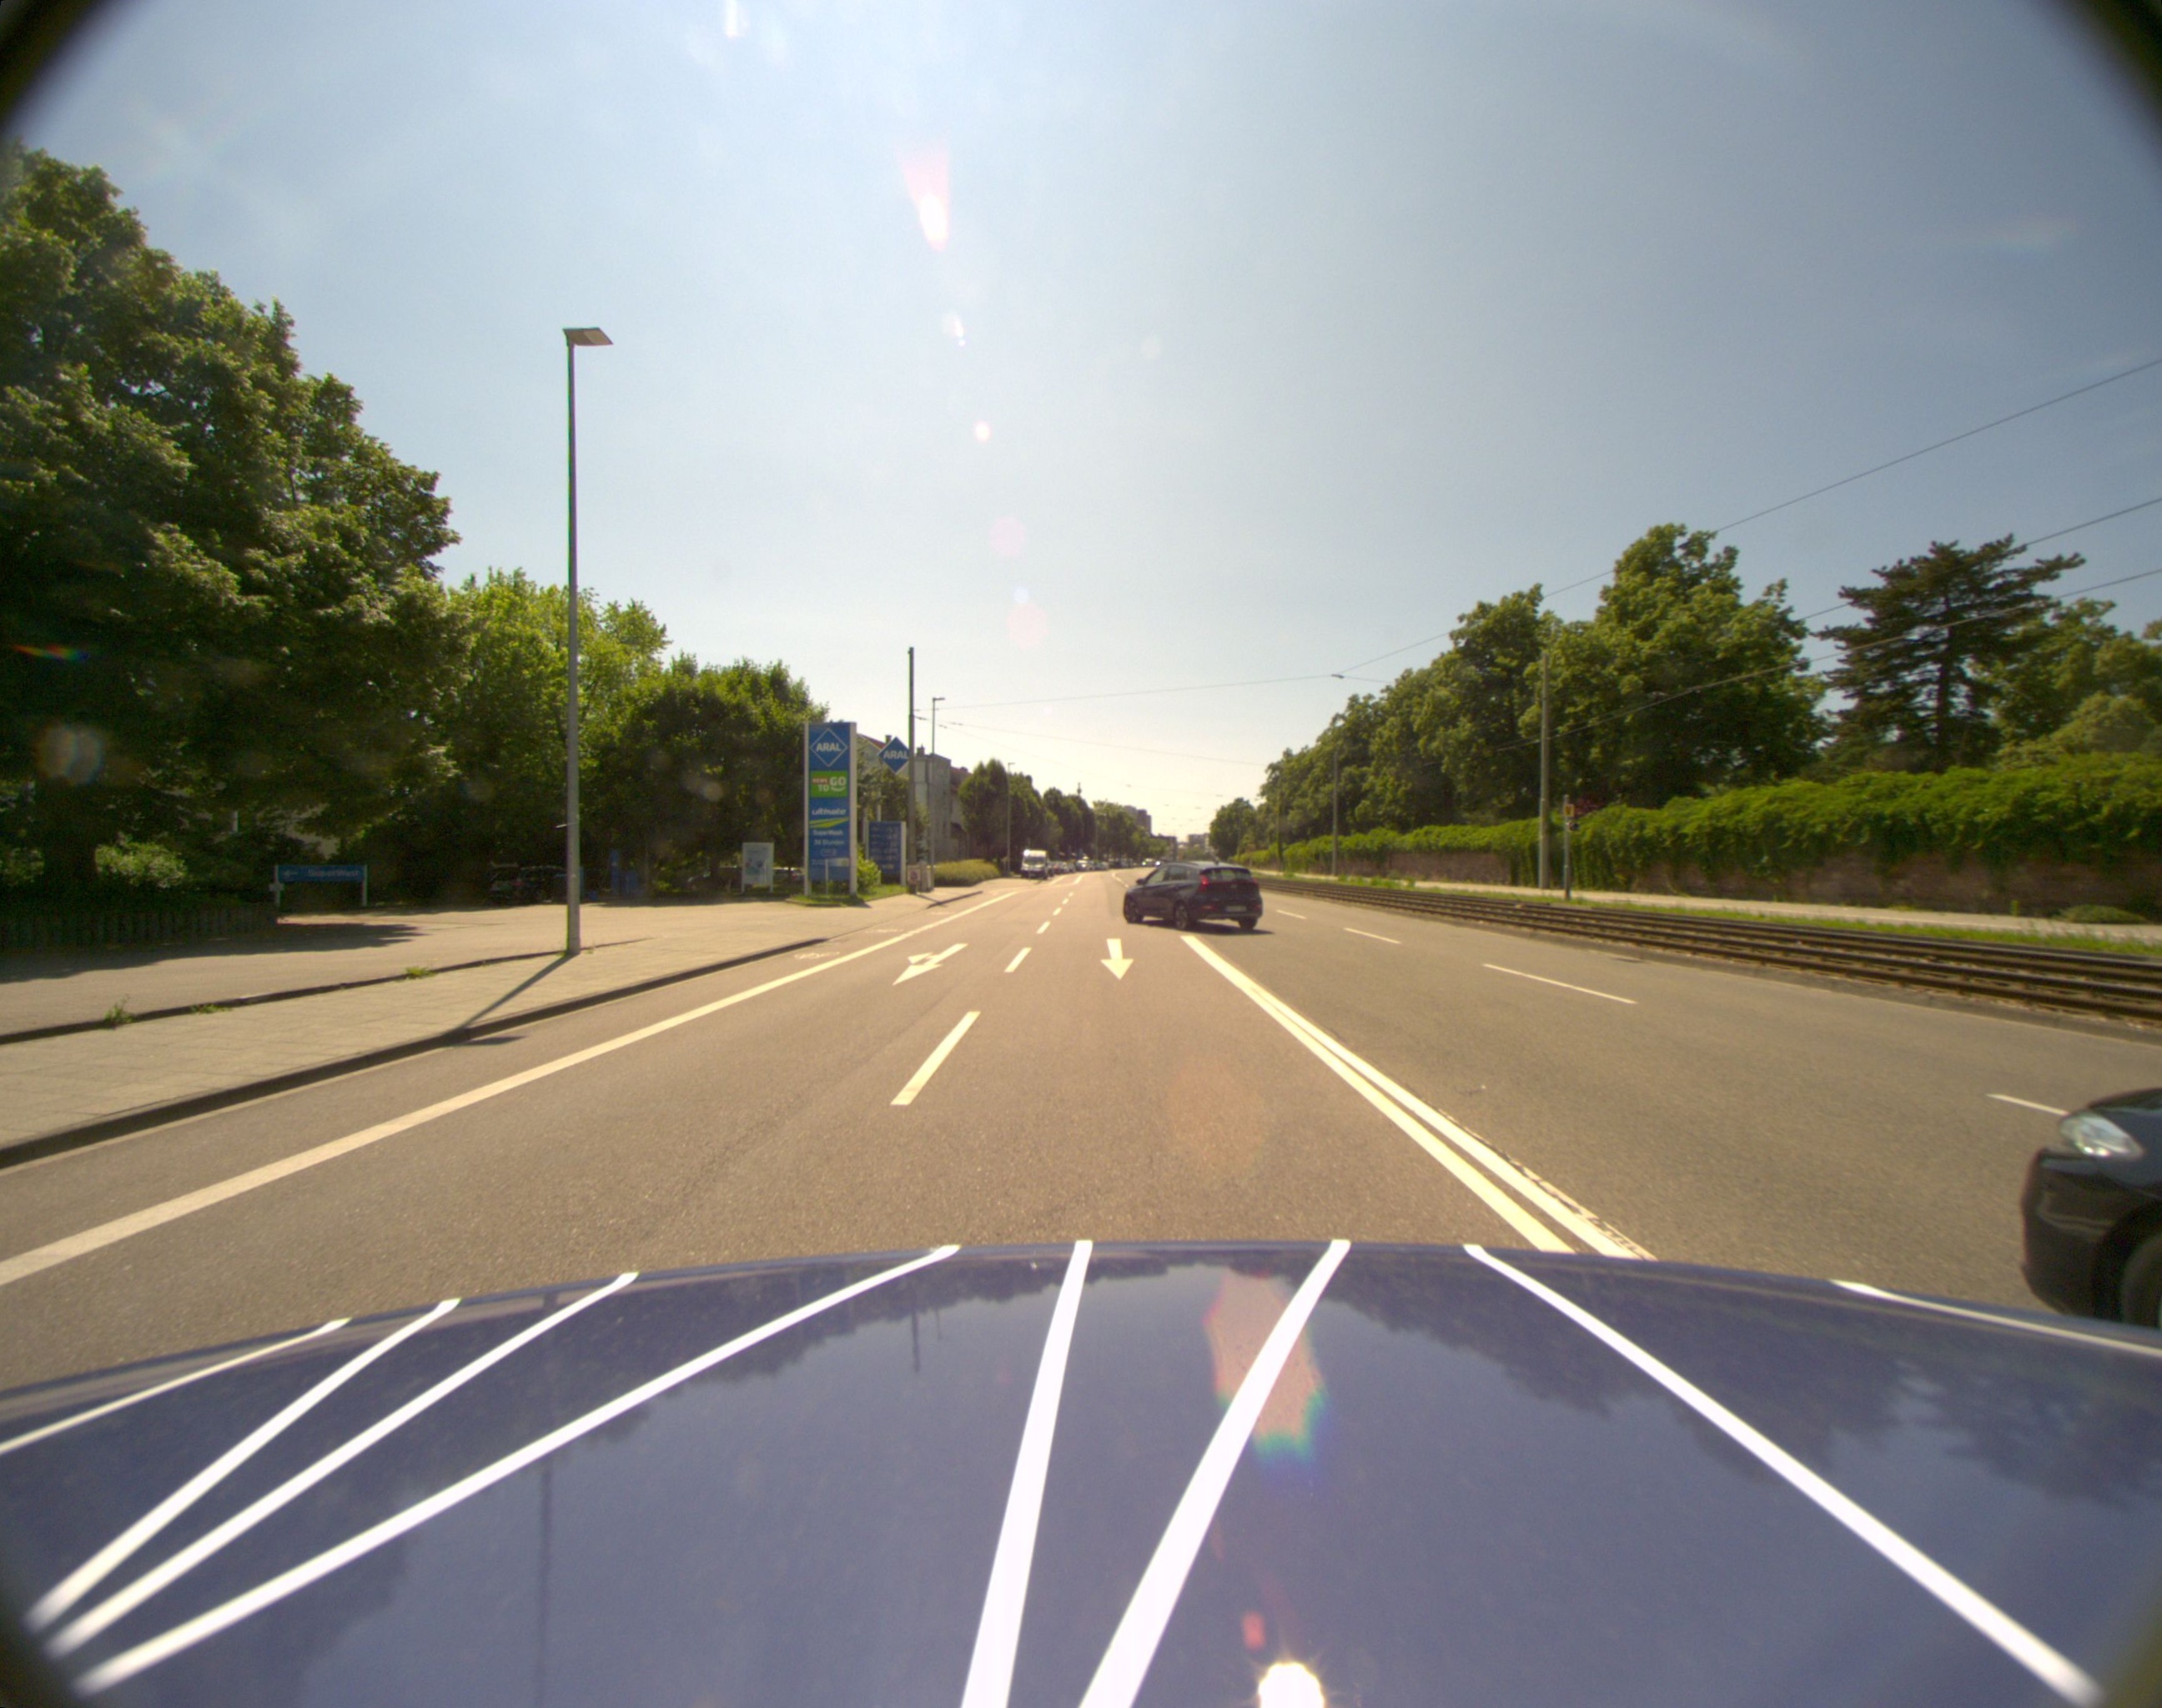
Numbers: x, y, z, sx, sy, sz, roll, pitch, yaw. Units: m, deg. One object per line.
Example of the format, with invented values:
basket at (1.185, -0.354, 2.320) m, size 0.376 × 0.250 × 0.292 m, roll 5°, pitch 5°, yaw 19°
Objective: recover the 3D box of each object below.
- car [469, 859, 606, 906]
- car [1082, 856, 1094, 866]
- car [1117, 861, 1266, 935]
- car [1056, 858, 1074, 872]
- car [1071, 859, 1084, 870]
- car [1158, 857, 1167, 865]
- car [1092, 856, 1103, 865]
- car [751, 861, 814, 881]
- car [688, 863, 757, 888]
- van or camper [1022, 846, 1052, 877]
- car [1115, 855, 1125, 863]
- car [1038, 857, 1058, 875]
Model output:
car at (-21.646, 1.066, 30.520) m, size 1.997 × 1.653 × 4.412 m, roll 0°, pitch 1°, yaw 6°
car at (1.115, 1.131, 126.627) m, size 1.907 × 1.707 × 4.000 m, roll 0°, pitch 0°, yaw 2°
car at (2.365, 0.897, 17.424) m, size 1.720 × 1.413 × 4.135 m, roll 0°, pitch 0°, yaw -19°
car at (-1.811, 1.212, 86.212) m, size 1.813 × 1.543 × 4.001 m, roll 0°, pitch 0°, yaw 3°
car at (-0.515, 1.630, 114.746) m, size 1.725 × 1.586 × 4.001 m, roll 0°, pitch 0°, yaw 4°
car at (15.072, 1.365, 140.358) m, size 1.695 × 1.460 × 4.002 m, roll 0°, pitch 0°, yaw 7°
car at (2.935, 1.203, 134.712) m, size 1.806 × 1.584 × 4.000 m, roll 0°, pitch 0°, yaw 2°
car at (-23.798, 1.325, 60.577) m, size 4.220 × 1.512 × 2.001 m, roll 0°, pitch 0°, yaw 9°
car at (-24.941, 1.512, 52.945) m, size 3.992 × 1.677 × 2.002 m, roll 0°, pitch 0°, yaw 16°
van or camper at (-3.793, 0.653, 66.138) m, size 2.125 × 2.469 × 5.993 m, roll 2°, pitch 0°, yaw 0°
car at (8.430, 1.091, 165.196) m, size 1.998 × 1.718 × 4.000 m, roll 0°, pitch 0°, yaw 2°
car at (-3.249, 1.167, 75.087) m, size 1.827 × 1.624 × 4.000 m, roll 2°, pitch 0°, yaw -1°
